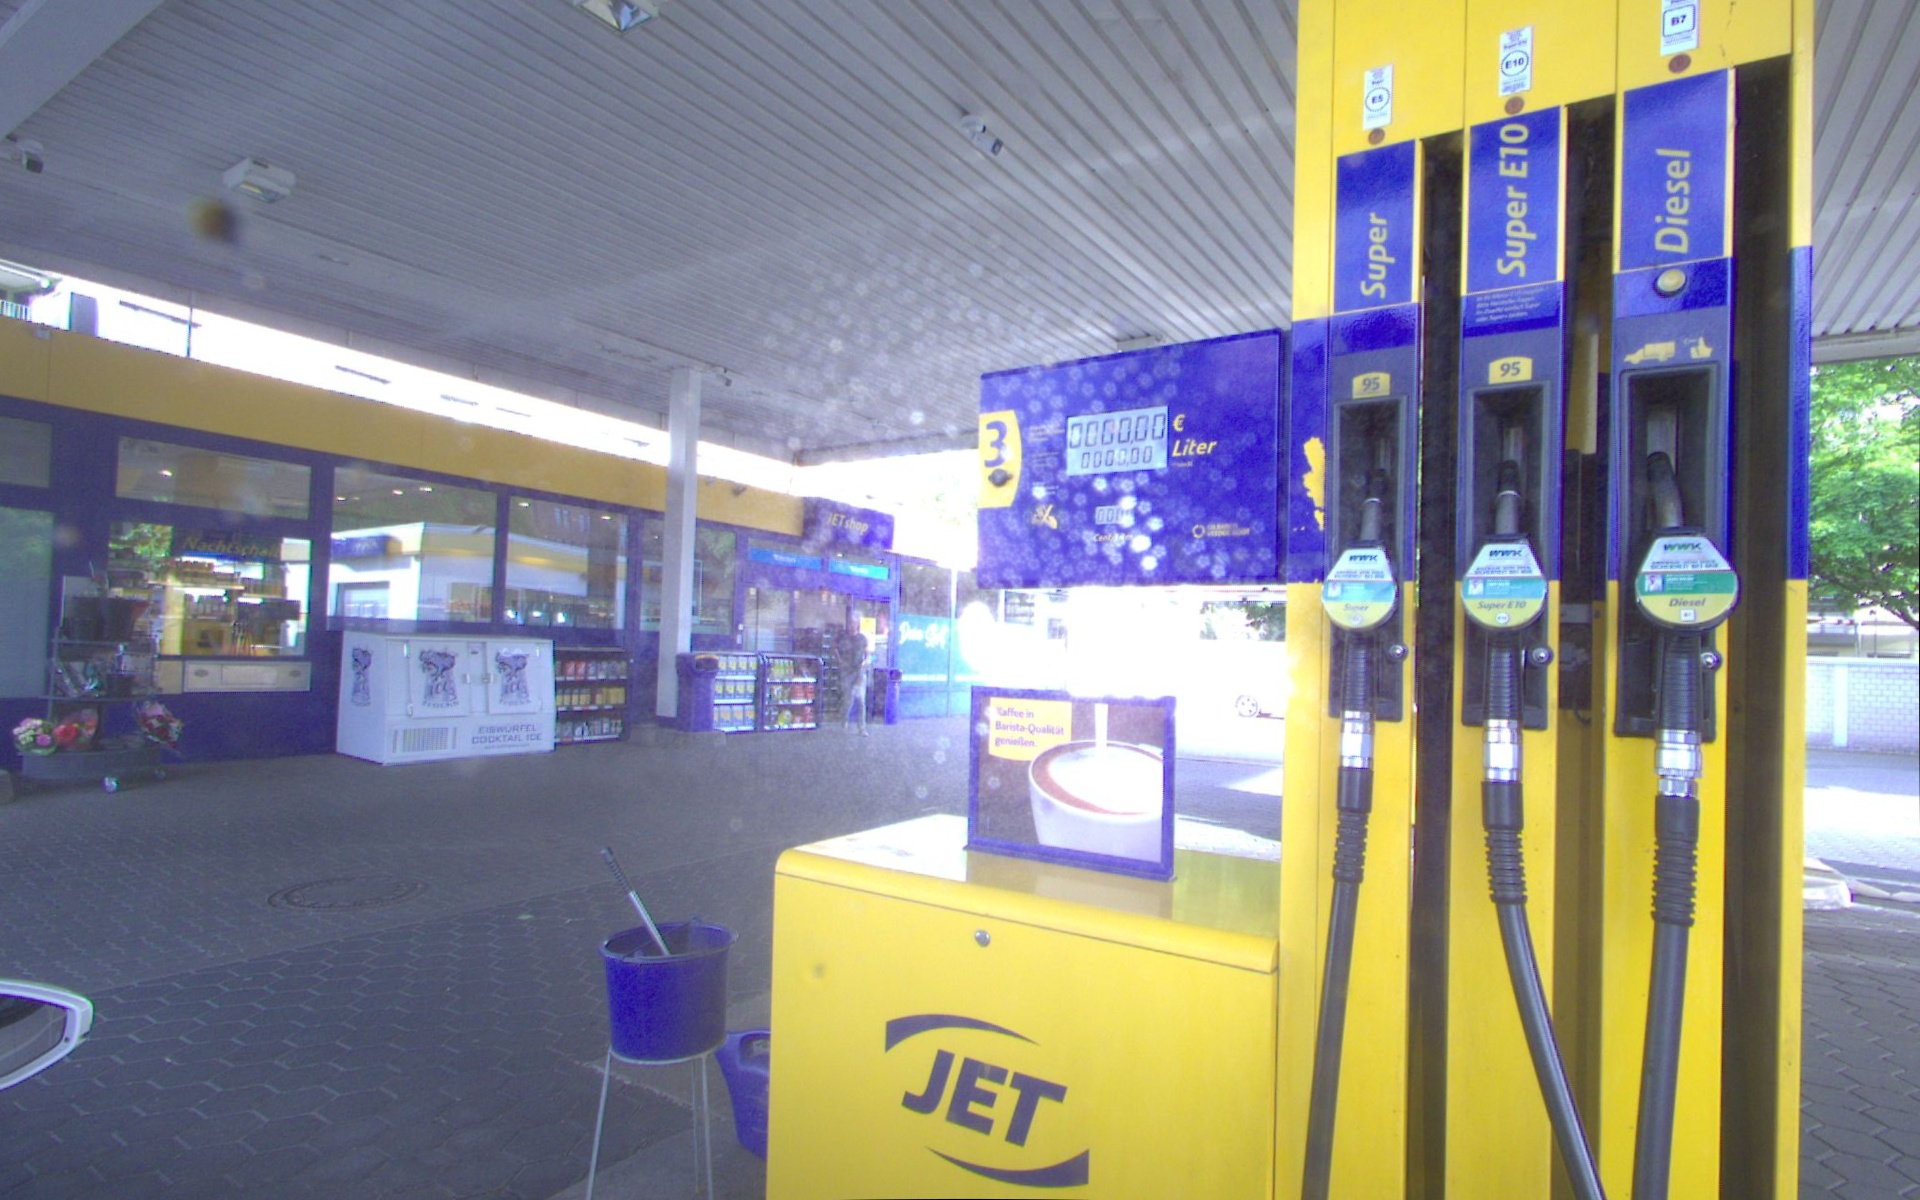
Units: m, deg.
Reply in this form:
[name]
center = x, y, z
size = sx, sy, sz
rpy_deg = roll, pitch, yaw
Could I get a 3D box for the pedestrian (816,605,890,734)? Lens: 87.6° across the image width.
[pedestrian]
center = -1.601, 1.025, 14.923
size = 0.790, 1.838, 0.982
rpy_deg = 3, -2, -22
